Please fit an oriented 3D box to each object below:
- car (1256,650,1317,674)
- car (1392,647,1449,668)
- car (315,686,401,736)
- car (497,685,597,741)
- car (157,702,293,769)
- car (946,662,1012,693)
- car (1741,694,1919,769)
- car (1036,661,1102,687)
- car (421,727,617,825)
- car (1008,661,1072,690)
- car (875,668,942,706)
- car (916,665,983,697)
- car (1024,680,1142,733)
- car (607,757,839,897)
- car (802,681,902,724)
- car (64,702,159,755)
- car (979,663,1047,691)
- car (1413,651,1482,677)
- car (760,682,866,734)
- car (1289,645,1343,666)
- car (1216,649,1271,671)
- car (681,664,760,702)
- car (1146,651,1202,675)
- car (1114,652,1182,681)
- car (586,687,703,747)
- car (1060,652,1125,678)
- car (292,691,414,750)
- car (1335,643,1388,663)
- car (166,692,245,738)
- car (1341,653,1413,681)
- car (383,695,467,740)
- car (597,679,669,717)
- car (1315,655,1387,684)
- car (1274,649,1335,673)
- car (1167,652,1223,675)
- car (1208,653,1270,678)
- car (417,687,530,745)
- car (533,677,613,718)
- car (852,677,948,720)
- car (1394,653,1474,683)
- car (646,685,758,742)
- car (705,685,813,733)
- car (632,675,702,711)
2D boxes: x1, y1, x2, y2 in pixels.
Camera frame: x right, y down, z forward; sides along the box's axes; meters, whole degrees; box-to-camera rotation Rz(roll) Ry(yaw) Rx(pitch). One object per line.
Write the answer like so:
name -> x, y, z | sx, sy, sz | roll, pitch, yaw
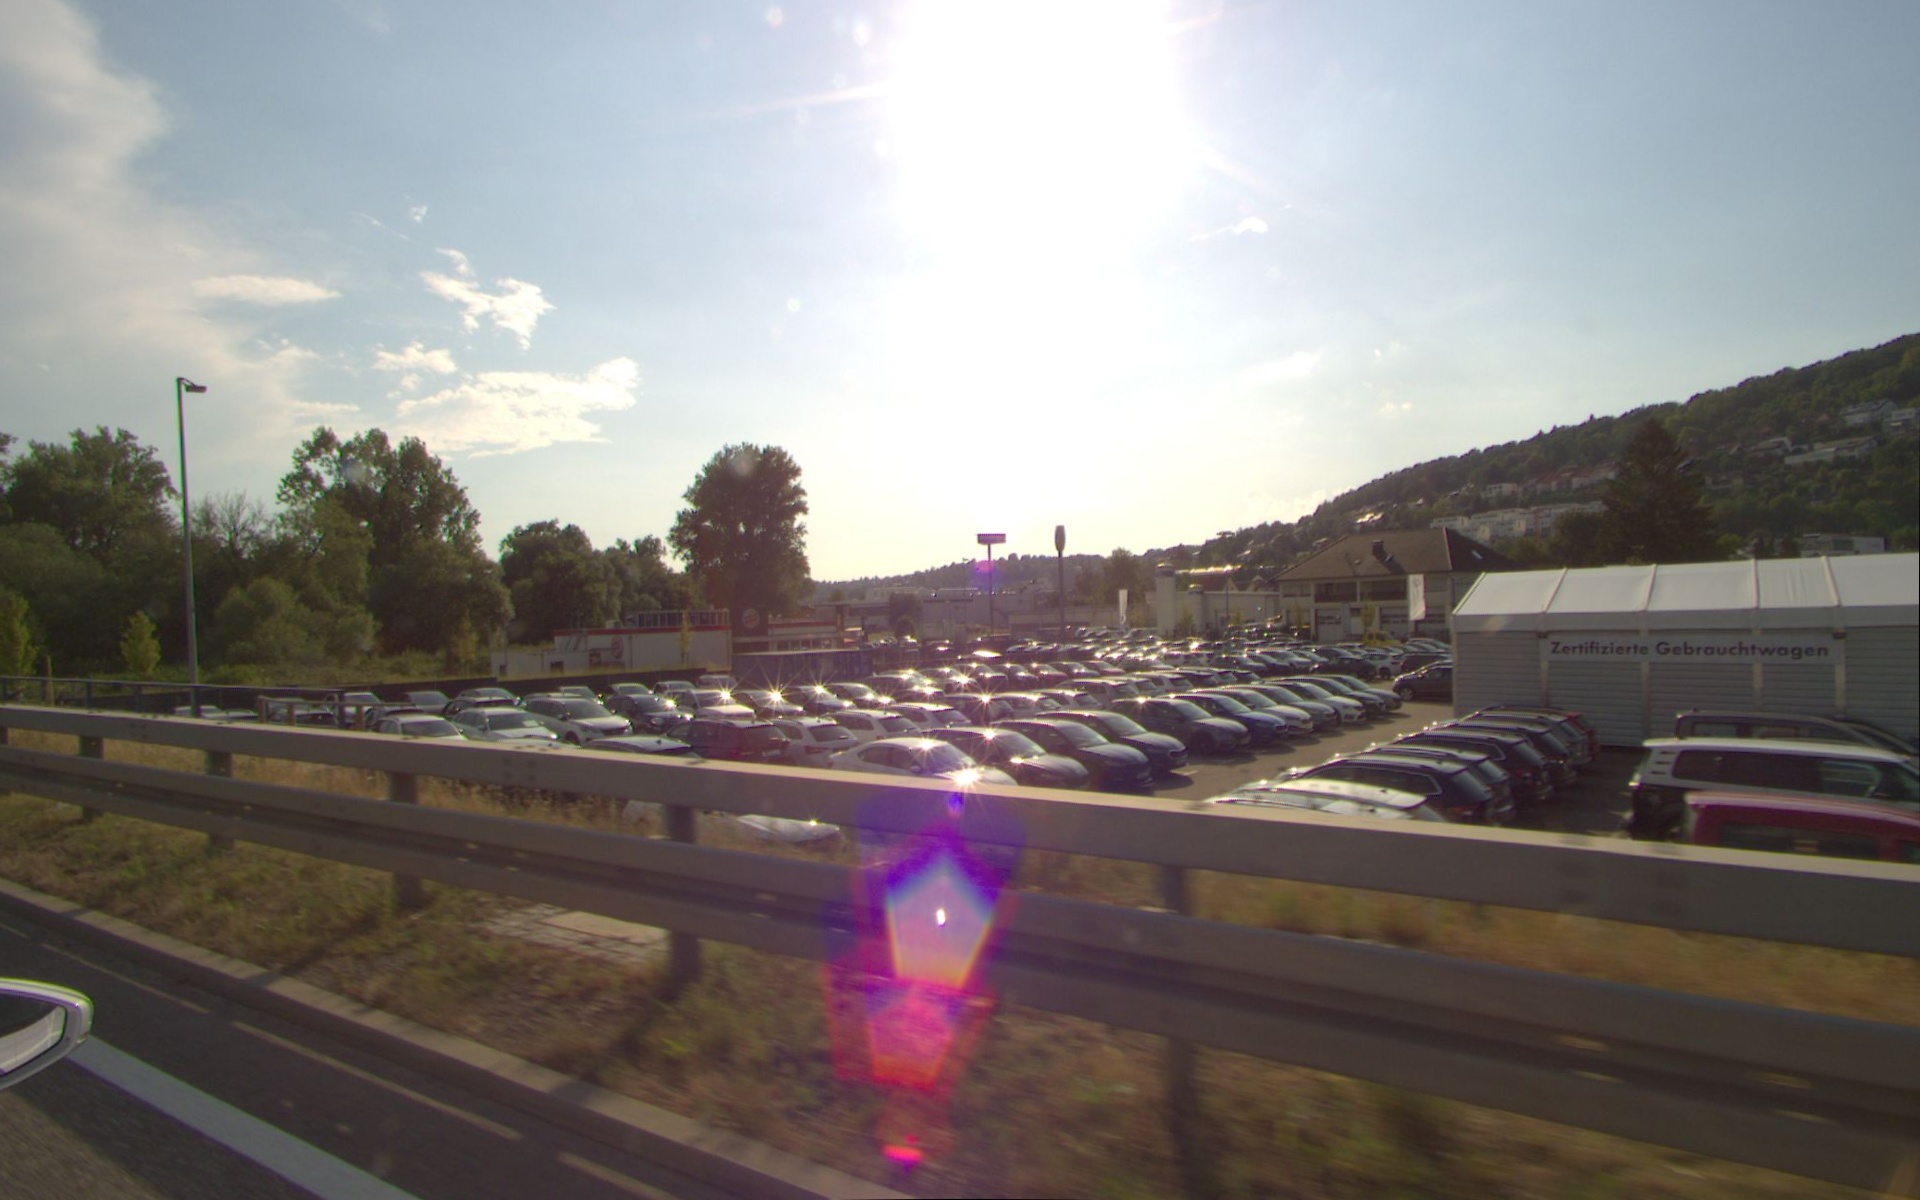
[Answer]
car -> 22.871, 4.340, 70.301 | 1.734, 1.597, 3.748 | 1, -2, -41
car -> 36.835, 4.577, 80.148 | 1.734, 1.597, 3.748 | 1, -2, -41
car -> -23.631, 4.295, 39.264 | 4.201, 1.662, 1.942 | -2, -3, 45
car -> -14.793, 3.972, 35.761 | 3.960, 1.664, 1.942 | -2, -3, 45
car -> -20.191, 3.652, 27.468 | 3.943, 1.482, 1.703 | -1, -2, 33
car -> 1.070, 4.354, 56.961 | 1.734, 1.597, 3.748 | 1, -2, -41
car -> 20.944, 3.059, 23.603 | 3.950, 1.482, 1.946 | -2, -2, 38
car -> 6.716, 4.533, 61.758 | 1.694, 1.482, 3.965 | 1, -2, -42
car -> -8.845, 3.427, 20.005 | 3.943, 1.482, 1.703 | -1, -2, 32
car -> 4.779, 4.481, 60.173 | 1.734, 1.597, 3.748 | 1, -2, -41
car -> -2.836, 4.674, 54.279 | 1.734, 1.816, 3.748 | 1, -2, -41
car -> -0.627, 4.439, 55.310 | 1.734, 1.597, 3.748 | 1, -2, -41
car -> 4.465, 3.836, 36.563 | 3.949, 1.705, 1.769 | -2, -2, 37
car -> -3.990, 3.667, 16.705 | 3.782, 1.700, 1.609 | -1, -2, 33
car -> -4.363, 4.077, 40.324 | 3.949, 1.482, 1.700 | -2, -2, 37
car -> -29.348, 4.382, 34.593 | 3.950, 1.482, 1.700 | -2, -2, 37
car -> 3.084, 4.501, 58.799 | 1.694, 1.482, 3.965 | 1, -2, -42
car -> 32.600, 4.273, 67.013 | 1.731, 1.597, 3.755 | 1, -2, -35
car -> -5.637, 4.073, 38.284 | 3.949, 1.705, 1.769 | -2, -2, 37
car -> 28.969, 4.501, 81.547 | 1.732, 1.597, 3.752 | 1, -2, -37
car -> 21.398, 4.504, 75.658 | 1.732, 1.597, 3.752 | 1, -2, -37
car -> -11.583, 3.958, 48.259 | 3.960, 1.614, 1.942 | -2, -3, 45
car -> 15.370, 4.514, 72.071 | 1.732, 1.597, 3.752 | 1, -2, -37
car -> 12.344, 4.323, 65.842 | 3.959, 1.772, 1.982 | -2, -2, 44
car -> -10.539, 3.843, 33.322 | 3.949, 1.705, 1.769 | -2, -2, 37
car -> 8.287, 4.069, 62.902 | 1.694, 1.482, 3.965 | 1, -2, -42
car -> -18.377, 3.588, 30.257 | 3.946, 1.482, 1.702 | -2, -2, 35
car -> 33.687, 4.419, 84.072 | 1.732, 1.597, 3.752 | 1, -2, -37
car -> -27.711, 4.164, 36.744 | 1.807, 1.371, 3.961 | 2, -3, -44
car -> 25.740, 4.105, 61.872 | 1.731, 1.597, 3.755 | 1, -2, -35
car -> -21.729, 4.728, 40.632 | 3.960, 1.482, 1.942 | -2, -3, 45
car -> -14.922, 4.441, 45.599 | 1.694, 1.482, 3.965 | 1, -2, -42
car -> 23.430, 4.155, 60.092 | 1.731, 1.597, 3.755 | 1, -2, -35
car -> 24.694, 4.352, 71.859 | 1.734, 1.597, 3.748 | 1, -2, -41
car -> 17.262, 4.645, 73.608 | 1.732, 1.597, 3.752 | 1, -2, -37
car -> 18.889, 4.423, 67.845 | 1.734, 1.597, 3.748 | 1, -2, -41
car -> -16.520, 3.877, 33.912 | 4.300, 1.643, 1.700 | -2, -2, 37
car -> -16.934, 4.215, 43.708 | 3.959, 1.521, 1.796 | -2, -3, 44
car -> -2.571, 4.153, 42.556 | 3.949, 1.623, 1.700 | -2, -2, 37
car -> 26.808, 3.813, 56.723 | 1.731, 1.597, 3.755 | 1, -2, -35
car -> -9.041, 3.900, 34.981 | 3.949, 1.705, 1.769 | -2, -2, 37
car -> -7.386, 3.953, 36.696 | 3.949, 1.482, 1.700 | -2, -2, 37
car -> -13.975, 4.374, 47.698 | 1.694, 1.482, 3.965 | 1, -2, -42
